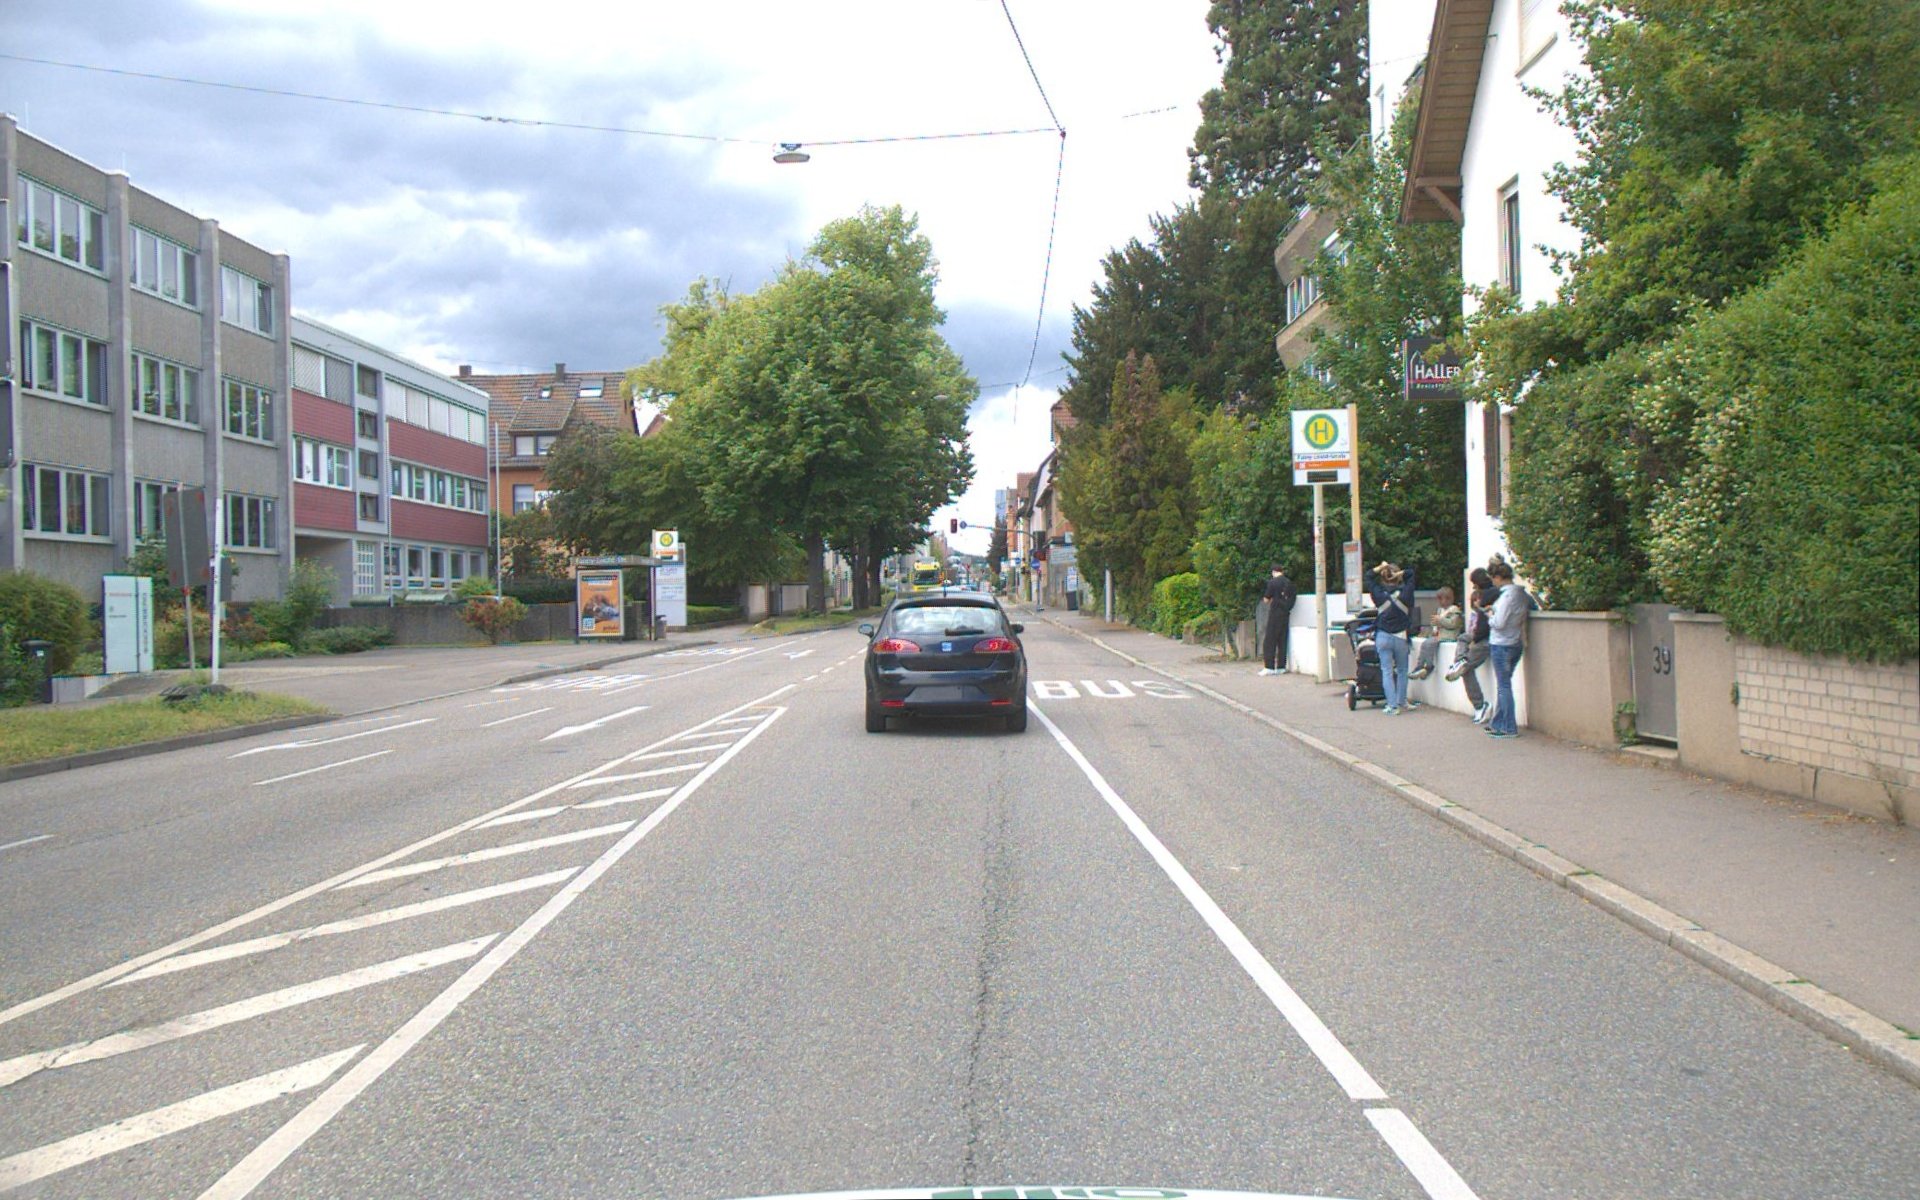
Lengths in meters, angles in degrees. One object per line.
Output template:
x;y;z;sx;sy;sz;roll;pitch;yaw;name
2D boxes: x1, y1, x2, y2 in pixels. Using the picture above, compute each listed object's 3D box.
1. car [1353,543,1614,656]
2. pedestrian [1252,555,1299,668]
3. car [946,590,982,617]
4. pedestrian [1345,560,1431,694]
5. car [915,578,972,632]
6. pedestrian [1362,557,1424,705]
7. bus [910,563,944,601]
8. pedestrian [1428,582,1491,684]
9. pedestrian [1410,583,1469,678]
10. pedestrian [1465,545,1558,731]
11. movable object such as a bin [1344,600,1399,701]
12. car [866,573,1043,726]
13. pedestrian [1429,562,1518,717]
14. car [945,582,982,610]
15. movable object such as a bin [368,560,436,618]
9.082;0.001;28.896;3.908;1.820;1.887;-1;0;-3;car
4.985;0.180;26.145;0.574;1.741;0.529;-2;0;-1;pedestrian
0.284;0.222;106.104;1.951;1.713;4.003;-1;0;6;car
5.034;0.310;19.474;0.765;1.526;0.604;-2;0;-6;pedestrian
-0.521;0.148;55.945;1.781;1.729;4.253;-1;0;1;car
4.616;0.327;17.658;0.538;1.543;0.362;-3;1;9;pedestrian
-2.848;-1.568;144.476;2.810;3.191;6.396;-1;0;-1;bus
5.010;0.330;16.599;0.445;0.981;0.382;-4;0;-6;pedestrian
5.168;0.329;17.821;0.445;0.981;0.382;-4;0;-6;pedestrian
4.873;0.327;14.632;0.533;1.582;0.470;-4;0;-9;pedestrian
4.632;0.565;18.609;0.432;1.076;0.568;-3;0;26;movable object such as a bin
-0.157;0.489;18.314;1.724;1.474;3.712;2;0;-3;car
4.983;0.379;16.047;0.609;1.452;0.510;-3;1;38;pedestrian
0.166;-0.213;92.928;1.902;1.507;4.251;-1;0;-2;car
-20.293;-0.389;60.220;1.953;2.049;1.542;-1;0;-1;movable object such as a bin
